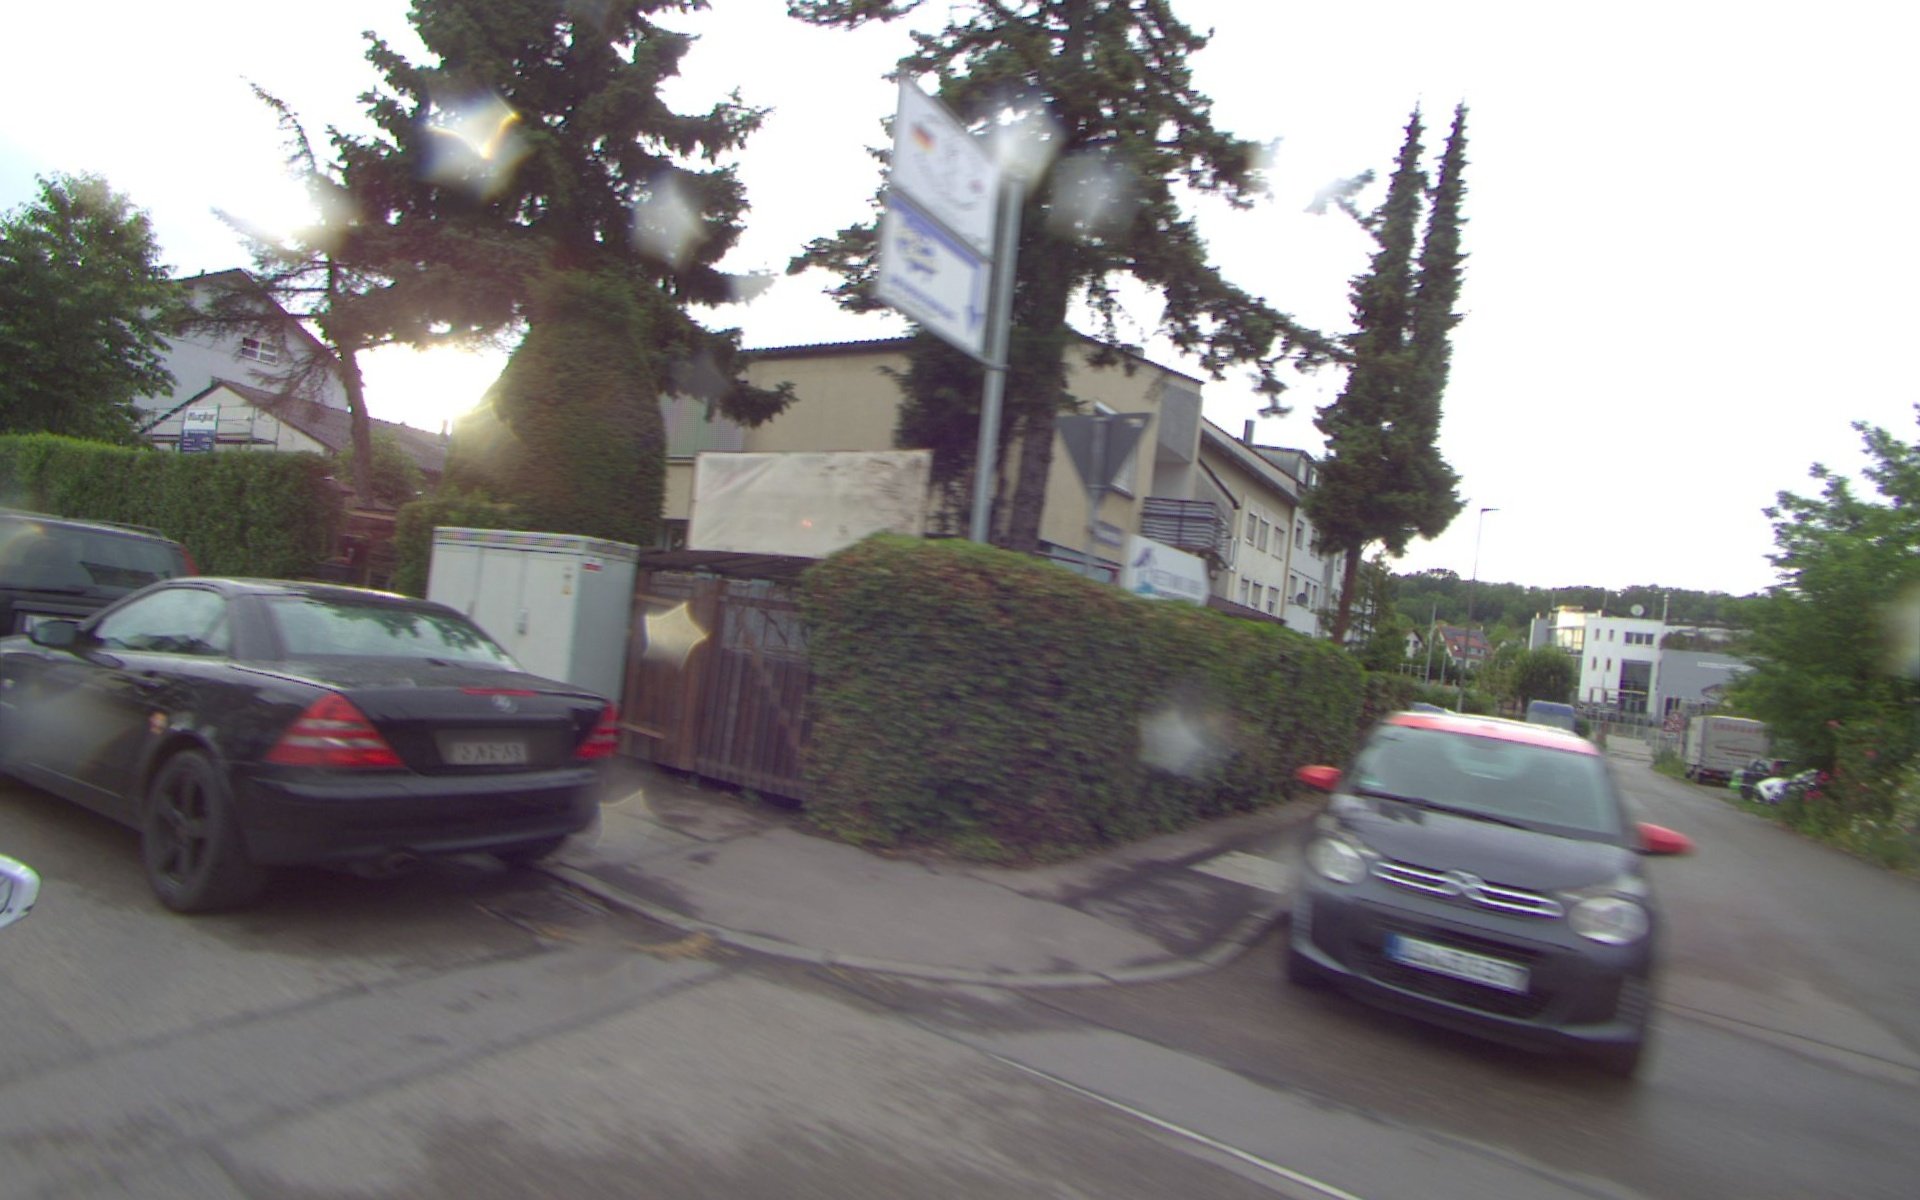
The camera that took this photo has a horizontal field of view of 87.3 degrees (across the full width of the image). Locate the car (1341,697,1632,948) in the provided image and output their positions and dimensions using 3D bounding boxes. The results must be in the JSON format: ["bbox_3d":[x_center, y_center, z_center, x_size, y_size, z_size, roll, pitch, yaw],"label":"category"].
[{"bbox_3d":[4.853,1.852,9.264,1.828,1.555,3.624,6,-3,30],"label":"car"}]

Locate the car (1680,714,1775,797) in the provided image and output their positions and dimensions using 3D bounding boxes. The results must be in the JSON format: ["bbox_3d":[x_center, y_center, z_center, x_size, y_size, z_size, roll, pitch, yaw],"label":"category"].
[{"bbox_3d":[34.004,6.848,44.744,2.597,3.038,6.051,6,-3,33],"label":"car"}]

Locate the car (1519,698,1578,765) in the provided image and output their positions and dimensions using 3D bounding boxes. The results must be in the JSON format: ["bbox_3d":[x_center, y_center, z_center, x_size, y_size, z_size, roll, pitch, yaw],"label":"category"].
[{"bbox_3d":[25.531,5.719,43.731,1.911,2.499,4.378,6,-3,30],"label":"car"}]

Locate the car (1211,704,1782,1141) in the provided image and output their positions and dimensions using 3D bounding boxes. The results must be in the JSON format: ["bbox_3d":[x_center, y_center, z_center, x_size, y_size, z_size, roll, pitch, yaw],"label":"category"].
[{"bbox_3d":[3.010,1.425,5.788,1.918,1.280,3.998,6,-4,30],"label":"car"}]

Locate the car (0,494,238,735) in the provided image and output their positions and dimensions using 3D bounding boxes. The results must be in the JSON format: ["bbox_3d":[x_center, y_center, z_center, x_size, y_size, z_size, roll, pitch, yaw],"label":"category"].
[{"bbox_3d":[-7.605,-0.073,7.516,4.696,1.435,1.661,6,-3,30],"label":"car"}]

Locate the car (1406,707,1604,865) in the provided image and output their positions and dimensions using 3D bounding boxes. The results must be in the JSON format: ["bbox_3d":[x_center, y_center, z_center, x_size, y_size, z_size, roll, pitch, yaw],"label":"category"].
[{"bbox_3d":[7.357,2.383,13.584,1.911,1.524,3.955,6,-4,30],"label":"car"}]

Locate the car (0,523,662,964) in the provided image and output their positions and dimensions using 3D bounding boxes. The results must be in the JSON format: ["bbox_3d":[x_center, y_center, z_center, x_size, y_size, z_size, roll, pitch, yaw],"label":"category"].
[{"bbox_3d":[-3.654,0.493,5.189,4.024,1.355,1.595,6,-4,30],"label":"car"}]
